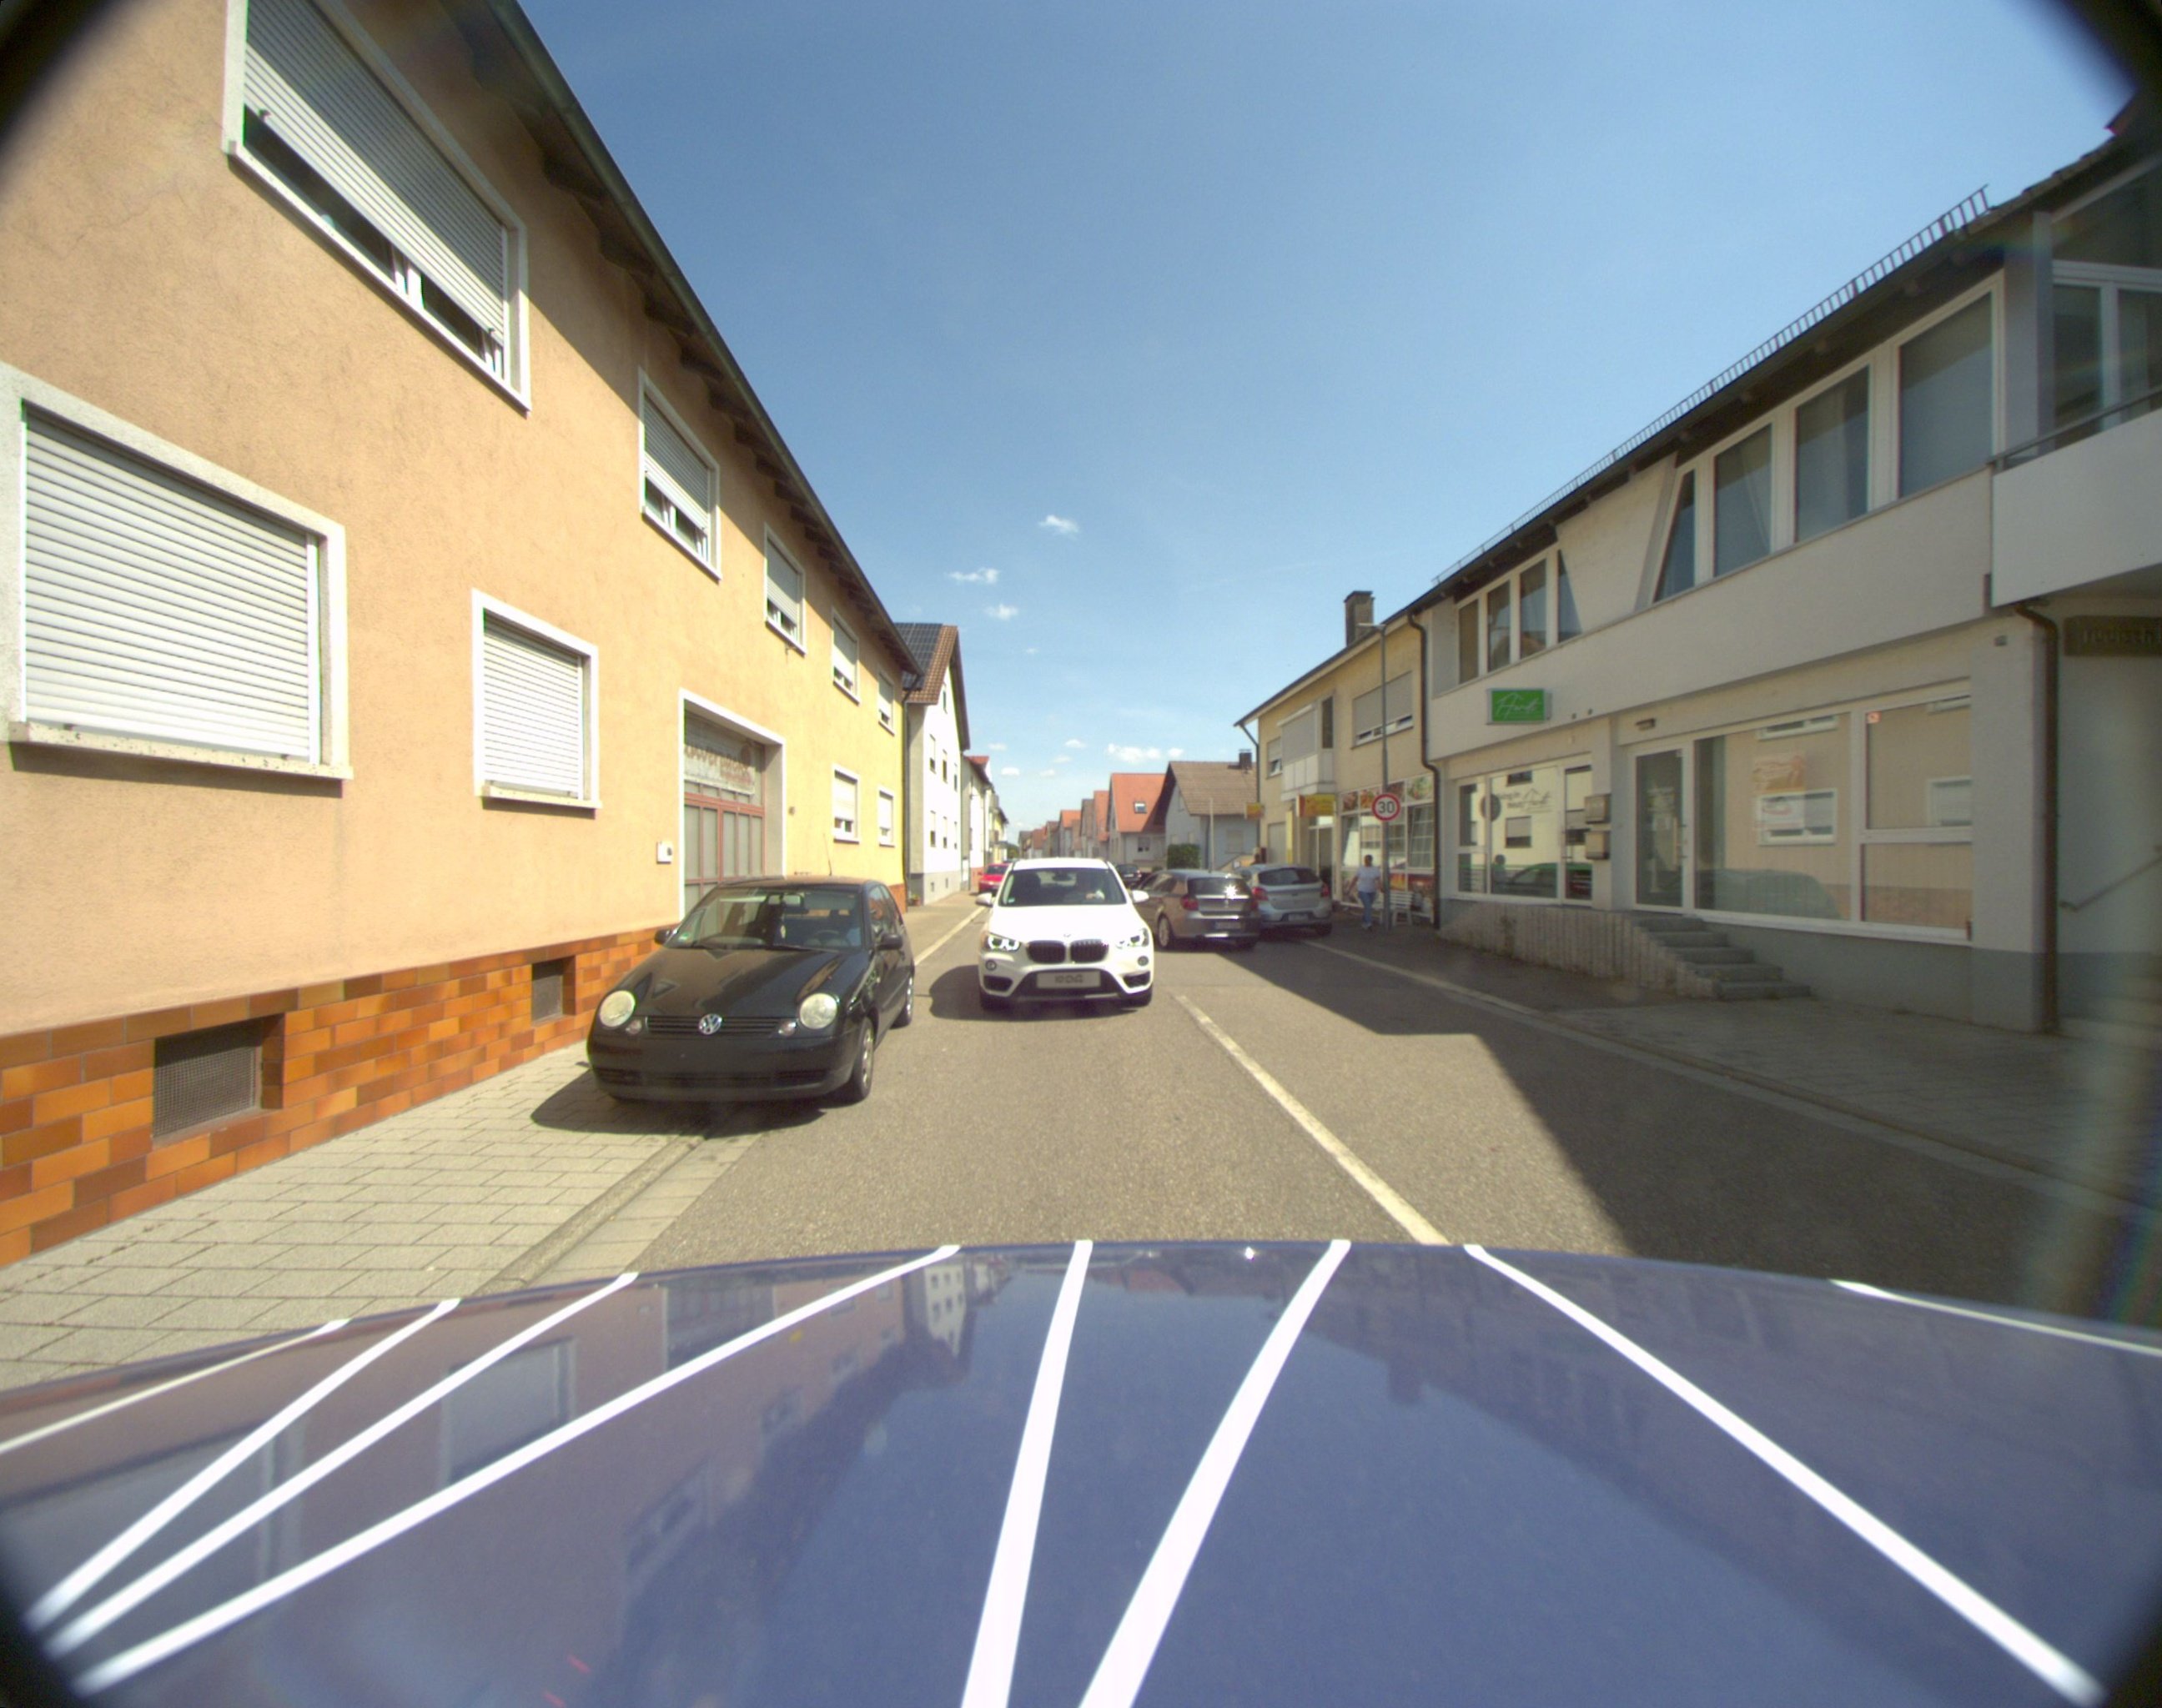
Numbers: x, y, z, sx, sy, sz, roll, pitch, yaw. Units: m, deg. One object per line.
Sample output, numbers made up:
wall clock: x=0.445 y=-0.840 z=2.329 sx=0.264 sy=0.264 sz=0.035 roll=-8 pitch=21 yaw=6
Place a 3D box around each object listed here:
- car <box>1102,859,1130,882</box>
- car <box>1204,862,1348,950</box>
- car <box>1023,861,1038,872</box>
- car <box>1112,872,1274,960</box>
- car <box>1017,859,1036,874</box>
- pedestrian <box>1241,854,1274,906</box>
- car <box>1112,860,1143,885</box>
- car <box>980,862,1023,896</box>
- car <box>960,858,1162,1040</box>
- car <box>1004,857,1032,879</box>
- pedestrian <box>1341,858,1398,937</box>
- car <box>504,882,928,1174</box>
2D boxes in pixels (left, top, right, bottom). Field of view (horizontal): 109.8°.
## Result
car: x=2.252 y=1.065 z=49.626 sx=1.442 sy=1.362 sz=3.383 roll=-3 pitch=0 yaw=-4
car: x=4.080 y=1.026 z=16.603 sx=1.749 sy=1.507 sz=3.998 roll=-4 pitch=1 yaw=-5
car: x=-6.258 y=1.519 z=93.983 sx=1.765 sy=1.420 sz=4.187 roll=0 pitch=-1 yaw=-6
car: x=1.982 y=1.090 z=14.669 sx=1.767 sy=1.389 sz=3.865 roll=1 pitch=0 yaw=-13
car: x=-5.376 y=1.195 z=75.354 sx=1.765 sy=1.420 sz=4.188 roll=0 pitch=-1 yaw=-4
pedestrian: x=5.516 y=0.807 z=23.822 sx=0.757 sy=1.574 sz=0.956 roll=-2 pitch=1 yaw=-2
car: x=2.744 y=1.091 z=45.259 sx=1.458 sy=1.362 sz=3.383 roll=-3 pitch=0 yaw=-2
car: x=-3.579 y=1.095 z=34.790 sx=1.765 sy=1.420 sz=4.188 roll=0 pitch=-1 yaw=-4
car: x=-0.293 y=0.914 z=9.358 sx=1.845 sy=1.635 sz=4.373 roll=-2 pitch=0 yaw=-3
car: x=-4.263 y=0.939 z=51.939 sx=1.765 sy=1.420 sz=4.188 roll=0 pitch=-1 yaw=-4
pedestrian: x=6.010 y=0.881 z=15.875 sx=0.757 sy=1.574 sz=0.956 roll=-2 pitch=1 yaw=-2
car: x=-2.319 y=1.017 z=5.911 sx=1.691 sy=1.454 sz=3.628 roll=2 pitch=-1 yaw=-4
